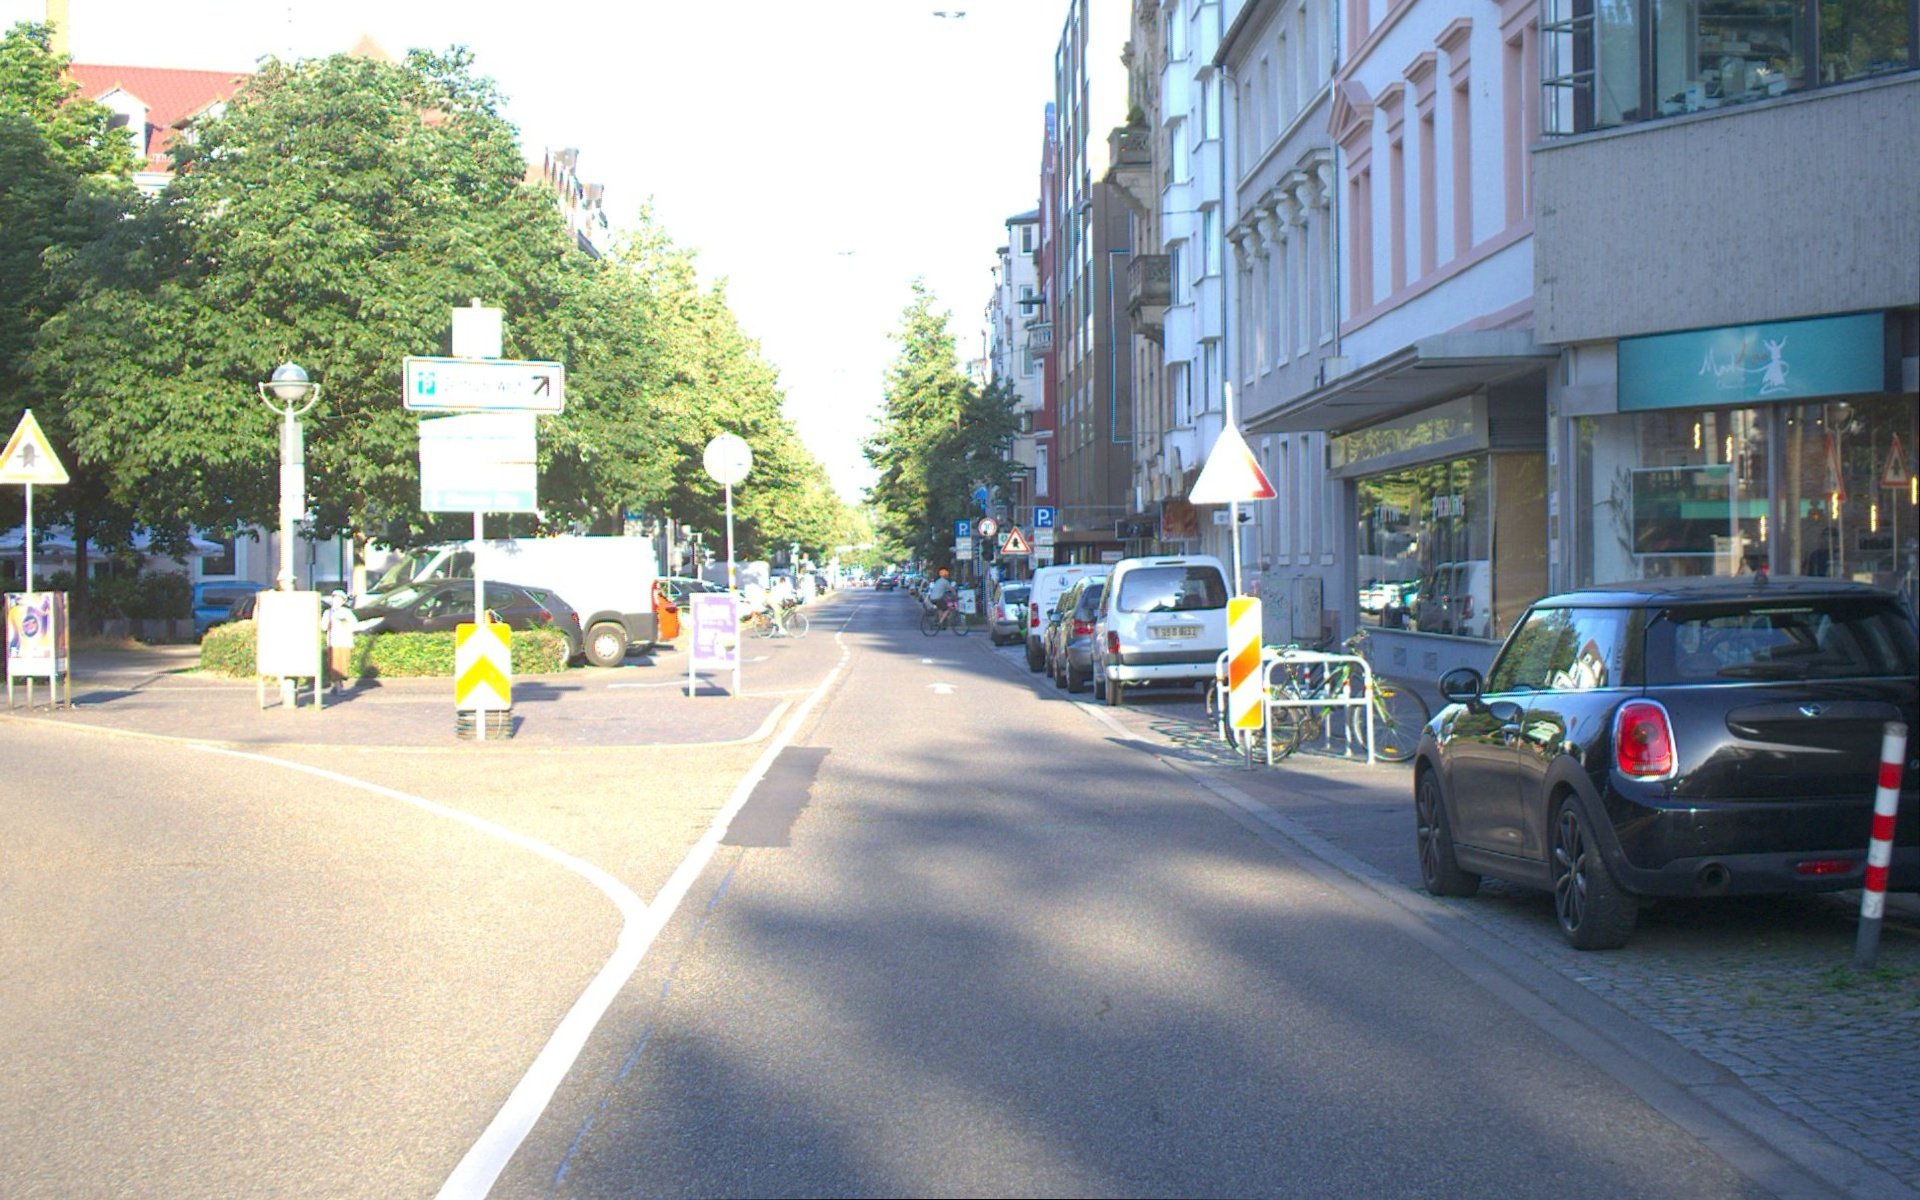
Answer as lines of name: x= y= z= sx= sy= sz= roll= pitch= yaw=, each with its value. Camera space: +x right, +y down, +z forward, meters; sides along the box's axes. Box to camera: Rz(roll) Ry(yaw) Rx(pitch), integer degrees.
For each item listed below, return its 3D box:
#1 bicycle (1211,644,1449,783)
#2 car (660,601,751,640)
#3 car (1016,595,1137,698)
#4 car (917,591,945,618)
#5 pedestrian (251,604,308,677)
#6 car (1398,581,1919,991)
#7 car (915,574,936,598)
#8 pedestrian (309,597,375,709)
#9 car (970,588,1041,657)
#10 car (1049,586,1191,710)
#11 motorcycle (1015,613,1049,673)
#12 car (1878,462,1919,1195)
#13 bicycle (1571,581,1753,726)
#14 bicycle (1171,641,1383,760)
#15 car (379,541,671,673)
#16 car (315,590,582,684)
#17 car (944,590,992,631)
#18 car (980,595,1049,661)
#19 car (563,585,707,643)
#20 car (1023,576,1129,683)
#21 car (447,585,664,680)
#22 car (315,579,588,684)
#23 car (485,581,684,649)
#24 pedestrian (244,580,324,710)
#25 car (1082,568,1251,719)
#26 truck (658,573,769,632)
bicycle: x=2.933 y=0.897 z=27.237 sx=1.788 sy=0.986 sz=0.542 roll=-3 pitch=1 yaw=11
car: x=-10.754 y=0.860 z=145.388 sx=3.739 sy=1.590 sz=2.000 roll=0 pitch=0 yaw=-1
car: x=1.801 y=0.703 z=54.244 sx=1.667 sy=1.539 sz=3.883 roll=1 pitch=0 yaw=-1
car: x=-1.410 y=0.234 z=166.059 sx=1.206 sy=1.296 sz=2.661 roll=0 pitch=-1 yaw=-4
pedestrian: x=-11.998 y=0.703 z=60.606 sx=0.747 sy=1.273 sz=0.661 roll=0 pitch=0 yaw=-38
car: x=3.034 y=0.682 z=14.738 sx=1.790 sy=1.502 sz=3.921 roll=1 pitch=0 yaw=0
car: x=-2.354 y=-0.955 z=236.196 sx=1.308 sy=1.594 sz=2.661 roll=0 pitch=-1 yaw=-4
pedestrian: x=-7.605 y=0.648 z=42.301 sx=0.562 sy=1.359 sz=0.614 roll=0 pitch=0 yaw=-38
car: x=1.202 y=0.578 z=92.368 sx=1.696 sy=1.763 sz=4.000 roll=-1 pitch=0 yaw=-2
car: x=2.215 y=0.646 z=48.485 sx=1.656 sy=1.659 sz=4.108 roll=1 pitch=0 yaw=-2
motorcycle: x=1.484 y=0.880 z=70.740 sx=0.588 sy=1.196 sz=2.210 roll=0 pitch=0 yaw=-2
car: x=3.341 y=0.583 z=6.599 sx=1.783 sy=1.798 sz=4.402 roll=1 pitch=0 yaw=-3
bicycle: x=6.554 y=0.512 z=32.158 sx=0.414 sy=1.272 sz=1.663 roll=0 pitch=-3 yaw=-44
bicycle: x=2.876 y=0.914 z=31.236 sx=1.789 sy=0.986 sz=0.541 roll=-3 pitch=2 yaw=22
car: x=-7.636 y=0.145 z=60.422 sx=4.598 sy=2.243 sz=2.203 roll=1 pitch=0 yaw=-28
car: x=-8.448 y=0.593 z=56.937 sx=3.988 sy=1.481 sz=1.832 roll=0 pitch=0 yaw=-40
car: x=0.308 y=0.428 z=134.494 sx=1.576 sy=1.537 sz=3.397 roll=-2 pitch=0 yaw=-4
car: x=1.392 y=0.686 z=87.363 sx=1.680 sy=1.556 sz=4.000 roll=-2 pitch=0 yaw=1
car: x=-10.425 y=0.442 z=110.479 sx=4.448 sy=1.829 sz=2.034 roll=1 pitch=0 yaw=-1
car: x=2.039 y=0.494 z=61.275 sx=1.710 sy=1.829 sz=4.306 roll=1 pitch=0 yaw=0
car: x=-8.227 y=0.643 z=70.015 sx=3.988 sy=1.872 sz=1.870 roll=0 pitch=0 yaw=-37
car: x=-7.961 y=0.465 z=53.988 sx=3.873 sy=1.577 sz=1.802 roll=0 pitch=1 yaw=-40
car: x=-8.459 y=0.333 z=77.461 sx=3.987 sy=1.481 sz=2.000 roll=0 pitch=0 yaw=-30
pedestrian: x=-8.237 y=0.541 z=41.891 sx=0.697 sy=1.553 sz=0.694 roll=0 pitch=0 yaw=-38
car: x=2.543 y=0.523 z=43.212 sx=1.792 sy=1.786 sz=4.092 roll=0 pitch=0 yaw=-1
truck: x=-11.221 y=0.115 z=156.833 sx=4.940 sy=2.606 sz=2.000 roll=0 pitch=0 yaw=-1
